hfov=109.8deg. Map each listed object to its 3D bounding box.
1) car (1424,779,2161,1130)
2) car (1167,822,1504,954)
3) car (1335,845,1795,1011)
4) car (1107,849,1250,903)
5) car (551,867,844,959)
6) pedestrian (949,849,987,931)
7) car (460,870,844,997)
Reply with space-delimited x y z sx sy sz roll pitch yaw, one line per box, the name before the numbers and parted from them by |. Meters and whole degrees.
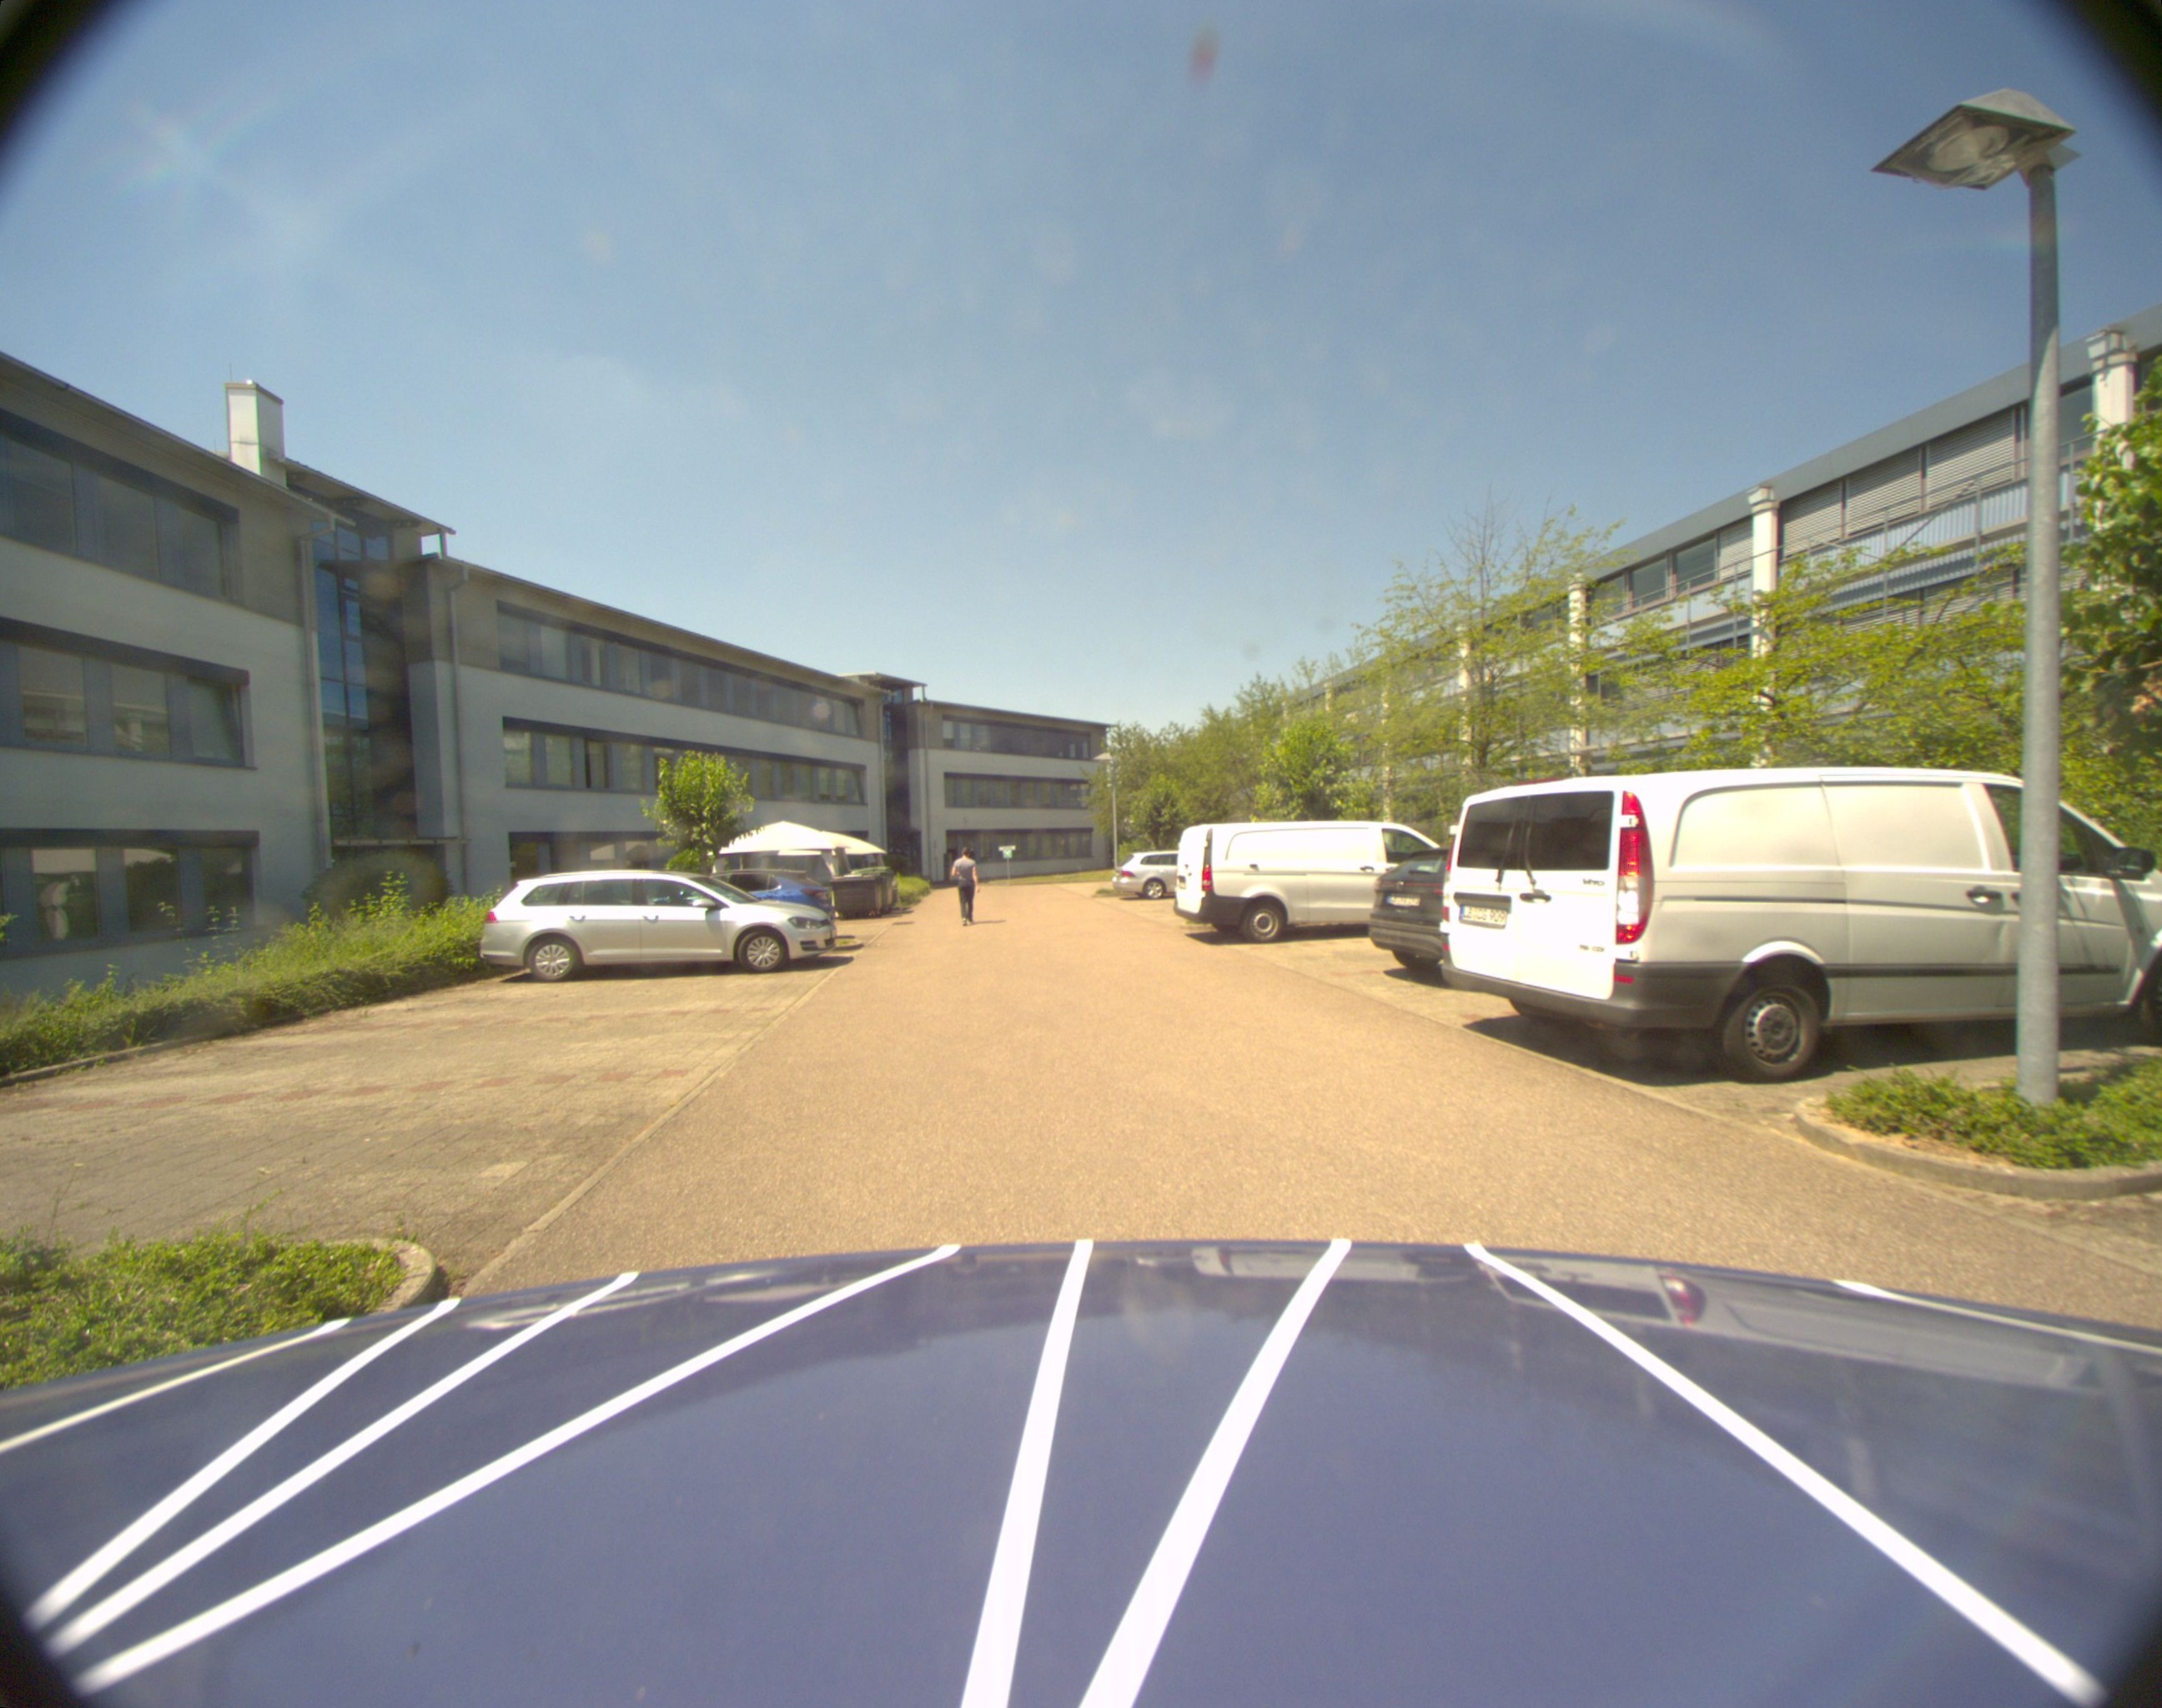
car | 5.149 0.501 5.381 4.677 1.849 1.867 -2 0 -9
car | 4.068 0.502 12.574 4.934 1.845 1.855 -2 0 -7
car | 5.215 0.704 8.441 4.198 1.475 1.738 -2 0 -9
car | 2.955 0.650 23.578 4.084 1.475 1.739 -2 0 -6
car | -7.071 1.054 14.504 4.613 1.485 1.855 -1 0 -9
pedestrian | -2.504 0.775 16.921 0.698 1.747 0.776 -3 1 -5
car | -5.898 1.050 11.007 4.427 1.511 1.855 -1 0 -9
